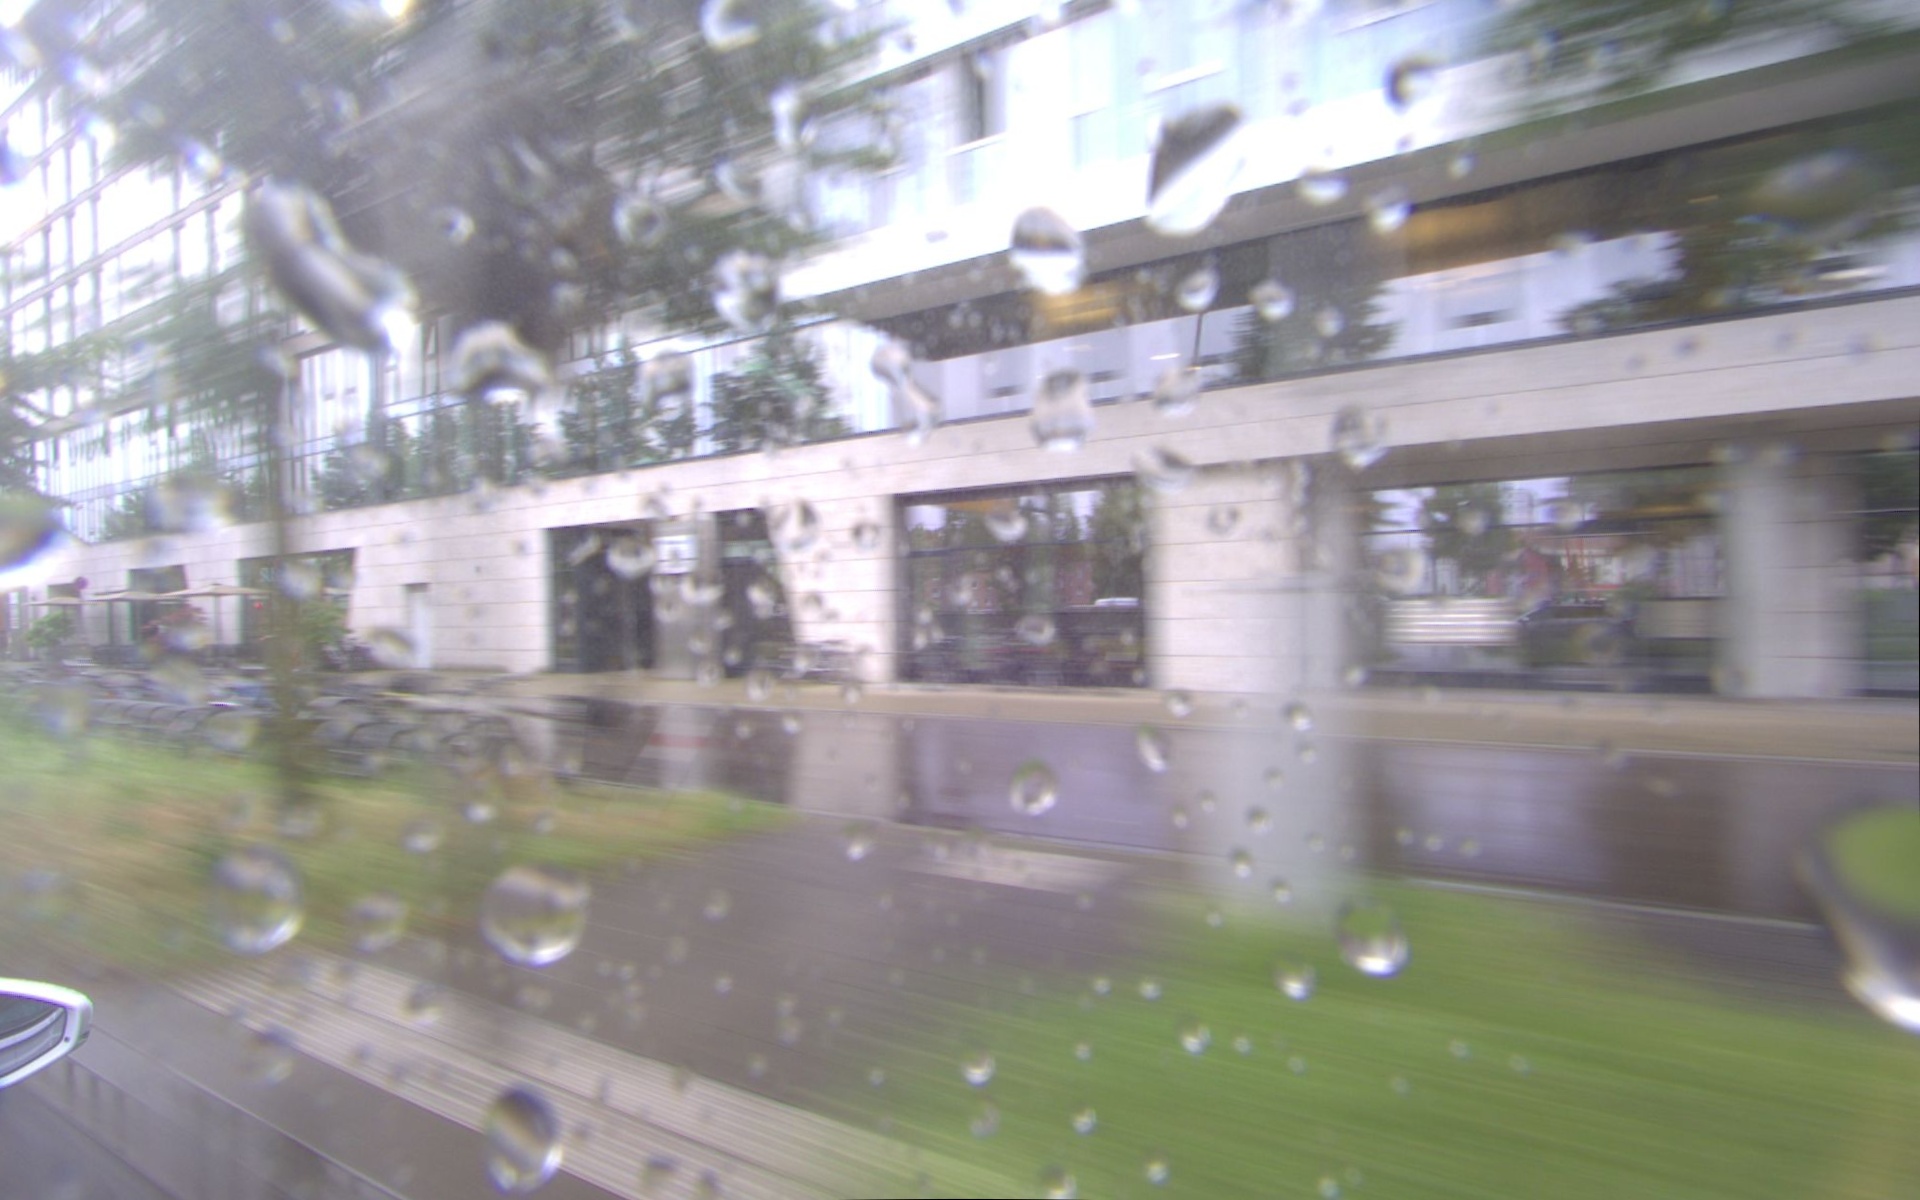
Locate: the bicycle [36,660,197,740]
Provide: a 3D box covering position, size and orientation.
[{"bbox_3d":[-10.459,1.212,12.472,0.273,0.860,1.519,-1,0,32],"label":"bicycle"}]

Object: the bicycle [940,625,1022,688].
[{"bbox_3d":[0.394,0.981,17.838,0.534,1.041,1.801,-1,-1,35],"label":"bicycle"}]

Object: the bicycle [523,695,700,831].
[{"bbox_3d":[-2.621,1.201,7.630,0.272,0.860,1.281,0,0,44],"label":"bicycle"}]

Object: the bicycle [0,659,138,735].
[{"bbox_3d":[-11.432,1.226,12.865,0.350,0.860,1.286,-1,0,32],"label":"bicycle"}]

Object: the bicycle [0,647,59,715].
[{"bbox_3d":[-14.498,1.222,14.995,0.306,0.992,1.457,-1,0,32],"label":"bicycle"}]

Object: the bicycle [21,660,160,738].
[{"bbox_3d":[-10.835,1.217,12.513,0.271,0.860,1.286,-1,0,32],"label":"bicycle"}]

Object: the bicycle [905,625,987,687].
[{"bbox_3d":[-0.231,1.000,18.288,0.534,1.041,1.801,-1,-1,35],"label":"bicycle"}]

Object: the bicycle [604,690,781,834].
[{"bbox_3d":[-1.943,1.154,7.392,0.298,0.885,1.281,-1,0,44],"label":"bicycle"}]

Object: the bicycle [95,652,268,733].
[{"bbox_3d":[-9.100,1.057,11.769,0.271,0.860,1.612,-1,-2,32],"label":"bicycle"}]

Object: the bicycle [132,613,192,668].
[{"bbox_3d":[-27.457,1.365,34.431,3.075,1.745,0.643,2,1,33],"label":"bicycle"}]

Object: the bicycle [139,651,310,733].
[{"bbox_3d":[-8.457,1.031,11.582,0.271,0.860,1.612,-1,-2,32],"label":"bicycle"}]

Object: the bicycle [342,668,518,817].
[{"bbox_3d":[-4.395,1.153,8.377,0.272,1.088,1.282,0,0,40],"label":"bicycle"}]

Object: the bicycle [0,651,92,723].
[{"bbox_3d":[-12.801,1.194,13.741,0.271,0.922,1.323,-1,0,32],"label":"bicycle"}]

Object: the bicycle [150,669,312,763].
[{"bbox_3d":[-7.746,1.205,10.705,0.271,0.860,1.403,-1,0,30],"label":"bicycle"}]

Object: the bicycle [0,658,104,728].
[{"bbox_3d":[-12.306,1.234,13.387,0.271,0.860,1.286,-1,0,32],"label":"bicycle"}]

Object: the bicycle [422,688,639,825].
[{"bbox_3d":[-3.353,1.191,7.969,0.272,0.860,1.666,-1,0,36],"label":"bicycle"}]

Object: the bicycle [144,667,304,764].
[{"bbox_3d":[-7.994,1.231,10.940,0.271,0.909,1.408,-1,0,30],"label":"bicycle"}]

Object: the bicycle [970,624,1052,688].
[{"bbox_3d":[0.914,0.954,17.463,0.534,1.041,1.801,-1,-1,35],"label":"bicycle"}]

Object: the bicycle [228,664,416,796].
[{"bbox_3d":[-5.806,1.148,9.192,0.343,1.031,1.450,-1,0,30],"label":"bicycle"}]

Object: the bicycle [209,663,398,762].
[{"bbox_3d":[-6.752,1.125,10.395,0.309,0.860,1.704,0,-1,29],"label":"bicycle"}]

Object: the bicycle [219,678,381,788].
[{"bbox_3d":[-6.114,1.207,9.344,0.271,0.860,1.287,-1,0,27],"label":"bicycle"}]

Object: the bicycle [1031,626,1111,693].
[{"bbox_3d":[1.883,0.964,16.755,0.534,1.041,1.801,-1,-1,35],"label":"bicycle"}]

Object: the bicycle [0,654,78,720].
[{"bbox_3d":[-13.134,1.213,13.919,0.271,0.860,1.286,-1,0,32],"label":"bicycle"}]

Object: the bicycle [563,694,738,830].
[{"bbox_3d":[-2.297,1.185,7.544,0.272,0.843,1.281,-1,0,44],"label":"bicycle"}]

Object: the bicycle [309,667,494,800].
[{"bbox_3d":[-4.975,1.155,8.994,0.344,1.031,1.433,0,0,39],"label":"bicycle"}]

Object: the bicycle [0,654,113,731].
[{"bbox_3d":[-12.022,1.205,13.192,0.271,0.931,1.286,-1,0,32],"label":"bicycle"}]

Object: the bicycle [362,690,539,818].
[{"bbox_3d":[-4.077,1.206,8.087,0.272,0.869,1.284,0,0,37],"label":"bicycle"}]

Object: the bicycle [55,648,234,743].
[{"bbox_3d":[-9.725,1.108,12.006,0.316,1.001,1.640,-1,0,32],"label":"bicycle"}]

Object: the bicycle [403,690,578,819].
[{"bbox_3d":[-3.729,1.202,8.036,0.272,0.860,1.284,-1,0,37],"label":"bicycle"}]

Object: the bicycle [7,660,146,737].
[{"bbox_3d":[-11.127,1.222,12.646,0.271,0.860,1.286,-1,0,32],"label":"bicycle"}]

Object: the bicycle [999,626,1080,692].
[{"bbox_3d":[1.382,0.974,17.088,0.534,1.041,1.801,-1,-1,35],"label":"bicycle"}]

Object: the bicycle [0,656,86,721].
[{"bbox_3d":[-13.308,1.252,14.246,0.271,0.860,1.286,-1,0,32],"label":"bicycle"}]

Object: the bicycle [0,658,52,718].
[{"bbox_3d":[-14.249,1.307,14.730,0.271,0.860,1.286,0,0,32],"label":"bicycle"}]

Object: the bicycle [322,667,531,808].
[{"bbox_3d":[-4.604,1.150,8.735,0.403,1.031,1.567,-1,0,39],"label":"bicycle"}]

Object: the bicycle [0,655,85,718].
[{"bbox_3d":[-13.855,1.269,14.619,0.306,0.860,1.592,-1,0,32],"label":"bicycle"}]

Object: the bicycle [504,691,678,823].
[{"bbox_3d":[-2.856,1.194,7.830,0.272,0.860,1.281,0,0,44],"label":"bicycle"}]

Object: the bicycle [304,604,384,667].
[{"bbox_3d":[-18.513,1.035,30.059,3.075,1.745,0.770,2,1,33],"label":"bicycle"}]

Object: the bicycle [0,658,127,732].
[{"bbox_3d":[-11.717,1.220,13.064,0.271,0.860,1.286,-1,0,32],"label":"bicycle"}]

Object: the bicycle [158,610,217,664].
[{"bbox_3d":[-27.106,1.275,35.095,3.075,1.745,0.643,2,1,33],"label":"bicycle"}]

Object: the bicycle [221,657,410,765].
[{"bbox_3d":[-6.474,1.082,10.160,0.308,0.960,1.706,-1,-2,26],"label":"bicycle"}]

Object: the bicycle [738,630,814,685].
[{"bbox_3d":[-3.672,1.130,20.081,0.417,1.041,1.689,-1,-1,35],"label":"bicycle"}]

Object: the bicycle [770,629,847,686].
[{"bbox_3d":[-2.937,1.105,19.564,0.407,1.041,1.745,-1,-1,35],"label":"bicycle"}]

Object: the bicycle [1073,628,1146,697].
[{"bbox_3d":[2.453,0.991,16.282,0.396,1.041,1.801,-1,-1,35],"label":"bicycle"}]

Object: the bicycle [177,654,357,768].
[{"bbox_3d":[-7.366,1.147,10.725,0.292,1.067,1.610,-1,0,30],"label":"bicycle"}]

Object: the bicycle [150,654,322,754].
[{"bbox_3d":[-8.201,1.144,11.419,0.271,1.035,1.612,-1,-2,32],"label":"bicycle"}]

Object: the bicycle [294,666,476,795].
[{"bbox_3d":[-5.266,1.156,9.240,0.344,1.031,1.433,0,0,37],"label":"bicycle"}]

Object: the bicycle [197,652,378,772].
[{"bbox_3d":[-7.058,1.140,10.588,0.292,1.111,1.610,-1,0,30],"label":"bicycle"}]

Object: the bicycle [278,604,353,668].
[{"bbox_3d":[-18.955,1.030,29.413,3.075,1.745,0.643,2,1,33],"label":"bicycle"}]

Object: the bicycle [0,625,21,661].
[{"bbox_3d":[-44.764,1.987,46.789,2.724,1.555,0.664,2,1,33],"label":"bicycle"}]

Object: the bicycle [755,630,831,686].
[{"bbox_3d":[-3.286,1.128,19.823,0.417,1.041,1.689,-1,-1,35],"label":"bicycle"}]

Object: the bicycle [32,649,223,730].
[{"bbox_3d":[-10.169,1.066,12.315,0.271,0.860,1.813,-1,0,32],"label":"bicycle"}]

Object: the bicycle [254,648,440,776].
[{"bbox_3d":[-6.122,1.076,10.110,0.279,1.117,1.705,-1,0,26],"label":"bicycle"}]

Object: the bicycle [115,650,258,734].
[{"bbox_3d":[-8.890,1.037,11.556,0.271,0.860,1.286,-1,0,32],"label":"bicycle"}]

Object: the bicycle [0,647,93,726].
[{"bbox_3d":[-12.577,1.166,13.522,0.271,1.002,1.286,-1,0,32],"label":"bicycle"}]
